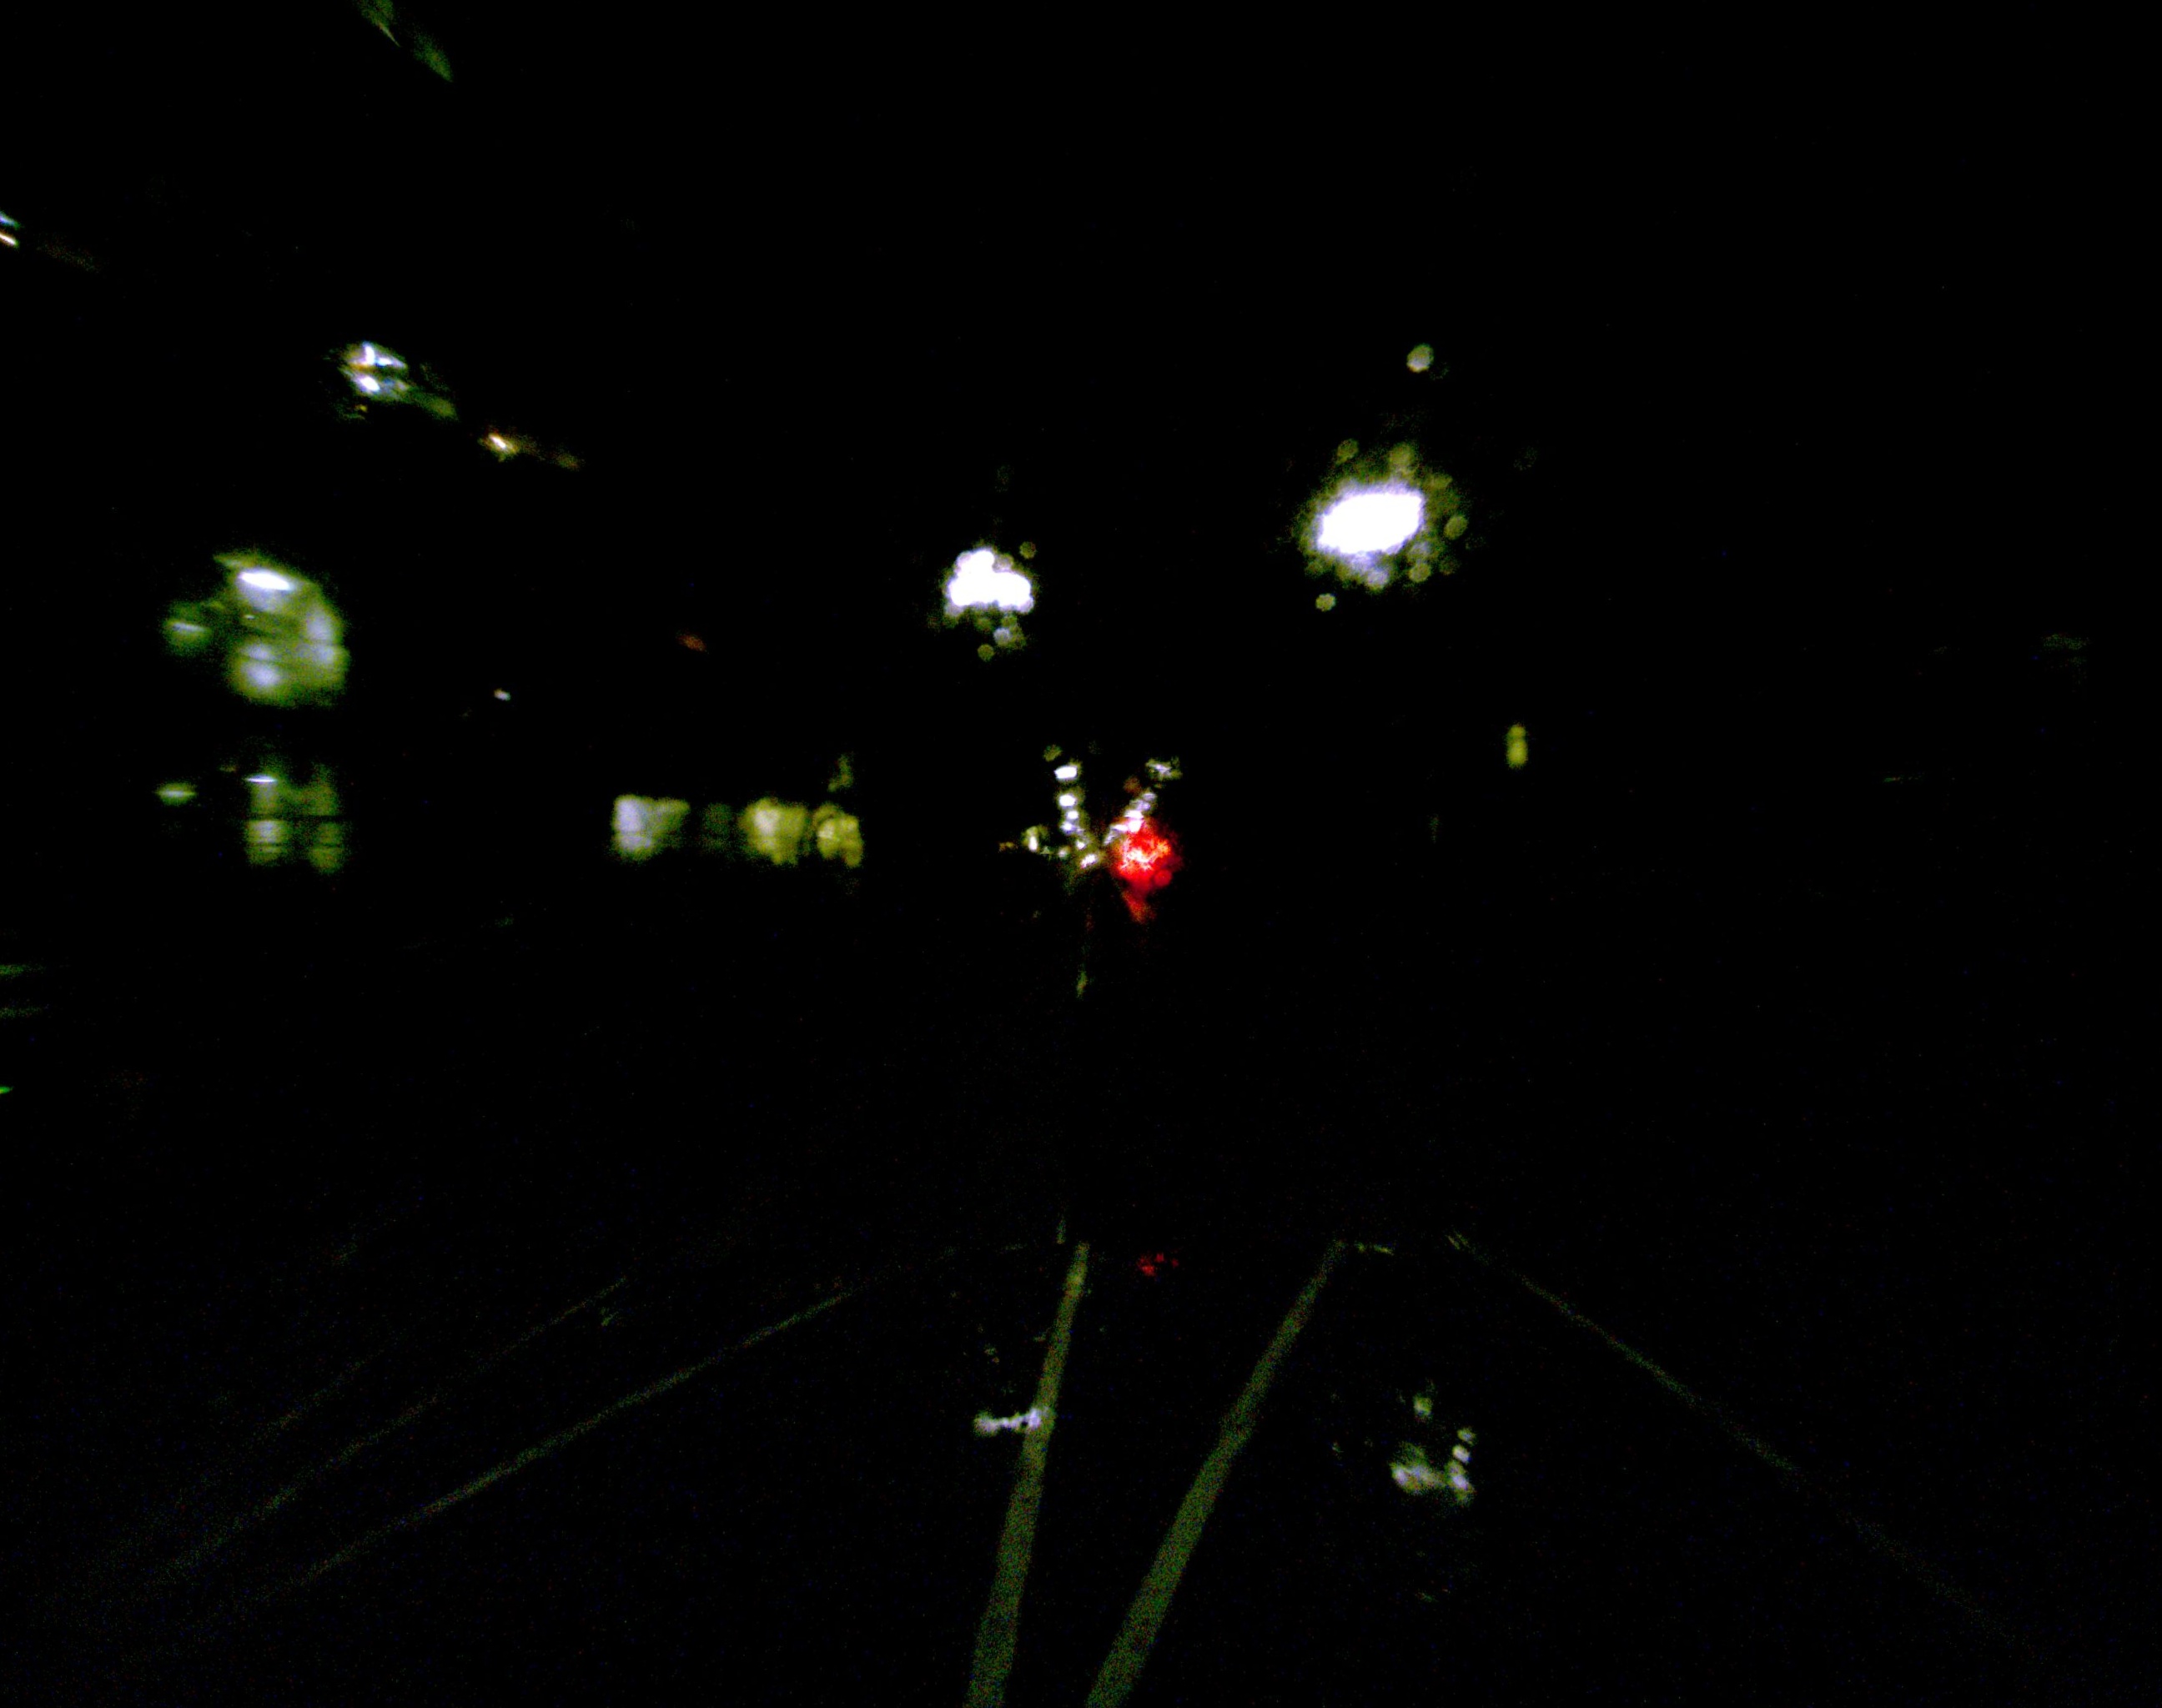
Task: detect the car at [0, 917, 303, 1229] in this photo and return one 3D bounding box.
[{"bbox_3d":[-6.882,1.245,3.689,4.170,1.437,1.651,-3,1,-42],"label":"car"}]

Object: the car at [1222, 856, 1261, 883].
[{"bbox_3d":[10.124,0.938,48.266,1.693,1.566,3.918,-2,1,1],"label":"car"}]

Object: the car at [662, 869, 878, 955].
[{"bbox_3d":[-6.854,1.185,16.972,4.021,1.519,1.796,-3,1,-41],"label":"car"}]

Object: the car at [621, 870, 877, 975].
[{"bbox_3d":[-6.163,1.153,14.349,4.021,1.519,1.796,-3,1,-41],"label":"car"}]

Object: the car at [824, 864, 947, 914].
[{"bbox_3d":[-6.934,1.192,26.990,3.962,1.499,1.617,-3,1,-26],"label":"car"}]

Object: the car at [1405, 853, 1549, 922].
[{"bbox_3d":[9.680,0.750,18.862,1.720,1.399,3.389,-4,1,0],"label":"car"}]

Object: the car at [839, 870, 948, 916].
[{"bbox_3d":[-5.901,1.188,24.097,1.503,1.216,2.950,-1,1,44],"label":"car"}]

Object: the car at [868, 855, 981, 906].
[{"bbox_3d":[-6.120,0.997,29.957,3.964,1.760,1.666,-3,1,-36],"label":"car"}]

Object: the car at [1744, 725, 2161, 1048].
[{"bbox_3d":[9.400,0.175,6.735,2.248,2.494,5.259,-4,1,-2],"label":"car"}]

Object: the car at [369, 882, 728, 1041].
[{"bbox_3d":[-7.034,1.262,10.271,3.675,1.519,1.712,-3,1,-45],"label":"car"}]

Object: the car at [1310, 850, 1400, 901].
[{"bbox_3d":[9.791,0.709,27.479,1.846,1.572,3.663,-4,1,0],"label":"car"}]
